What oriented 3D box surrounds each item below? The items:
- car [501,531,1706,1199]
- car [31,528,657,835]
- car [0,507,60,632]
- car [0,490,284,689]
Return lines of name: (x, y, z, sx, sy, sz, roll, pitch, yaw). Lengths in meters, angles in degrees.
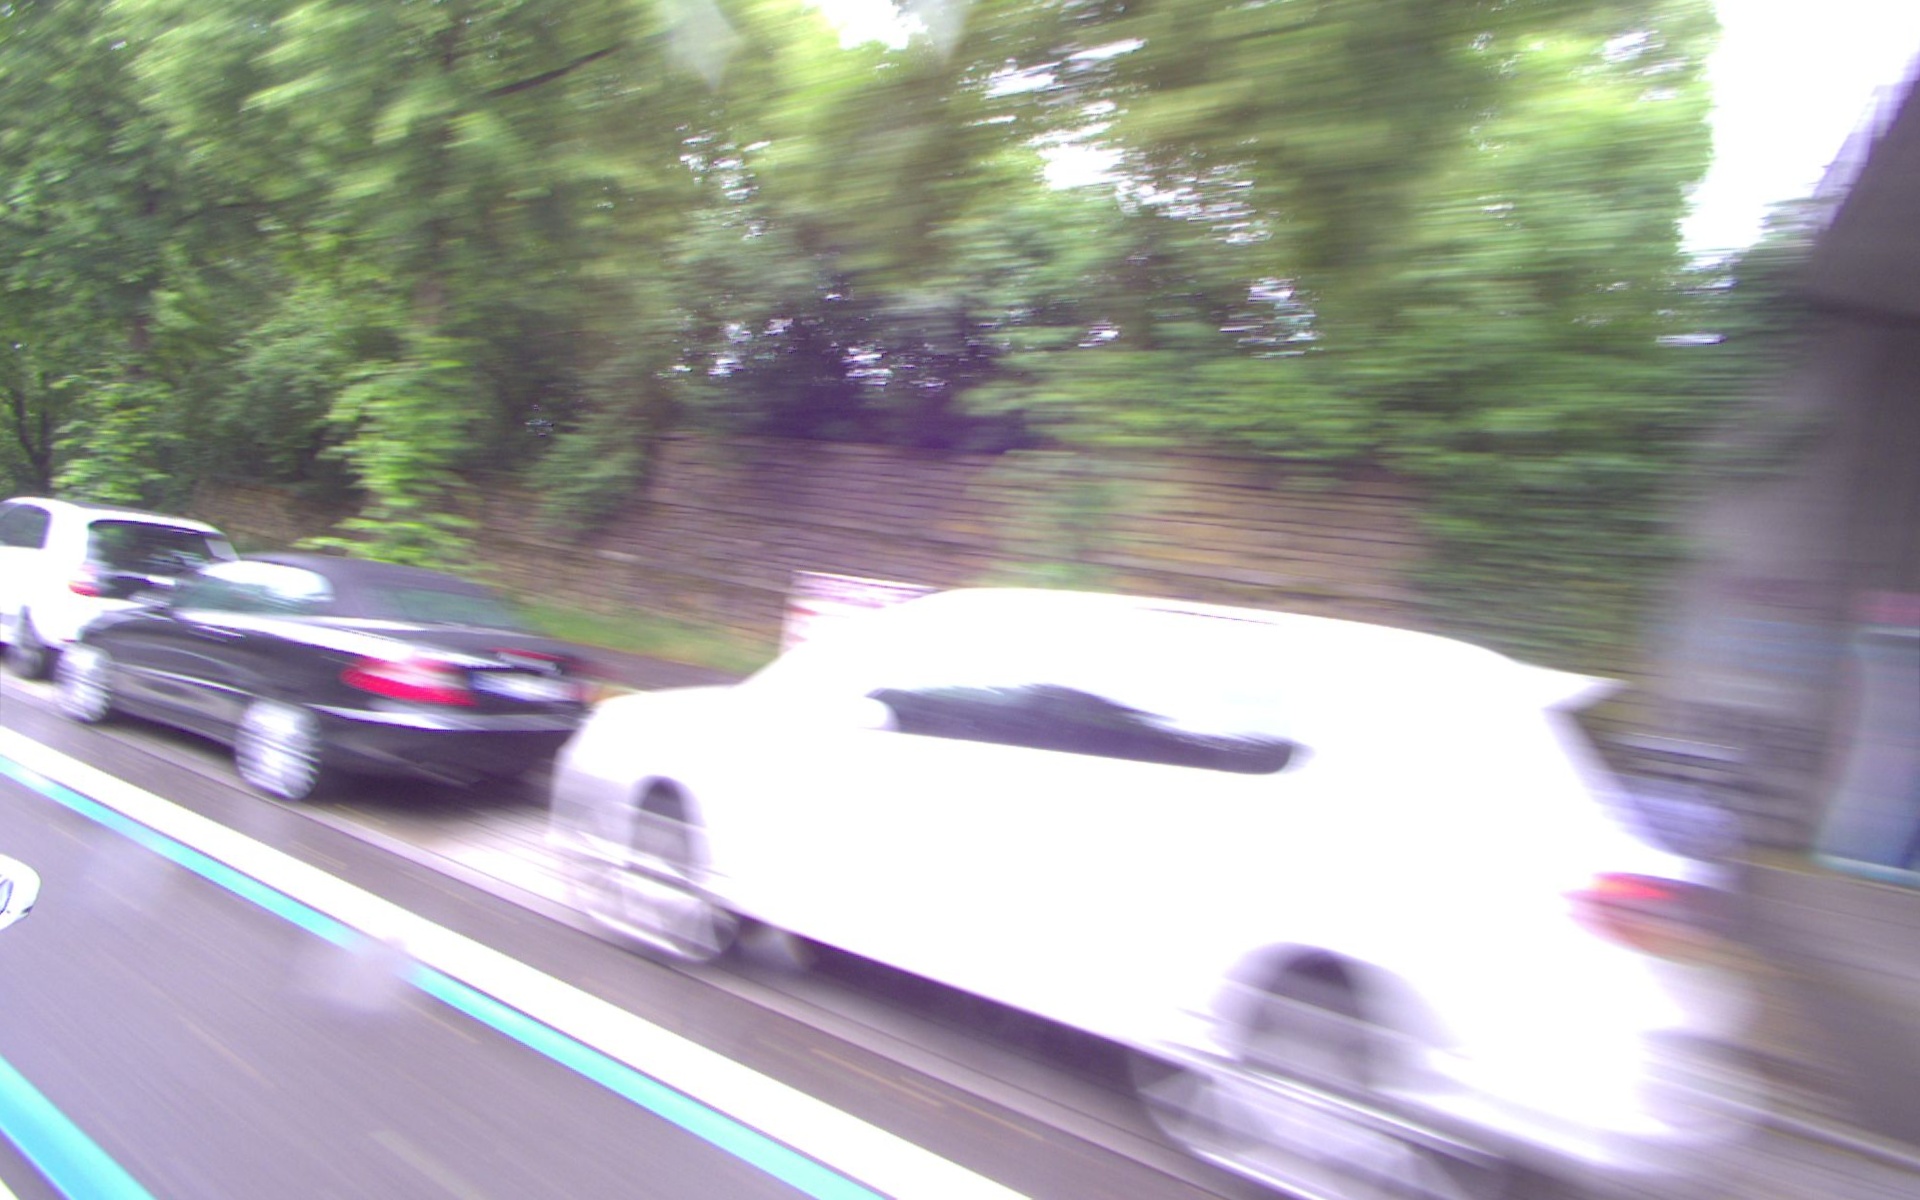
car: (0.275, 0.777, 4.174, 4.188, 1.639, 1.716, 7, 0, 30)
car: (-4.401, 0.399, 6.986, 4.482, 1.392, 1.721, 5, -1, 30)
car: (-12.843, -0.575, 12.139, 4.394, 1.364, 1.777, 6, -2, 33)
car: (-8.547, -0.170, 9.875, 3.679, 1.553, 1.664, 6, -1, 31)
